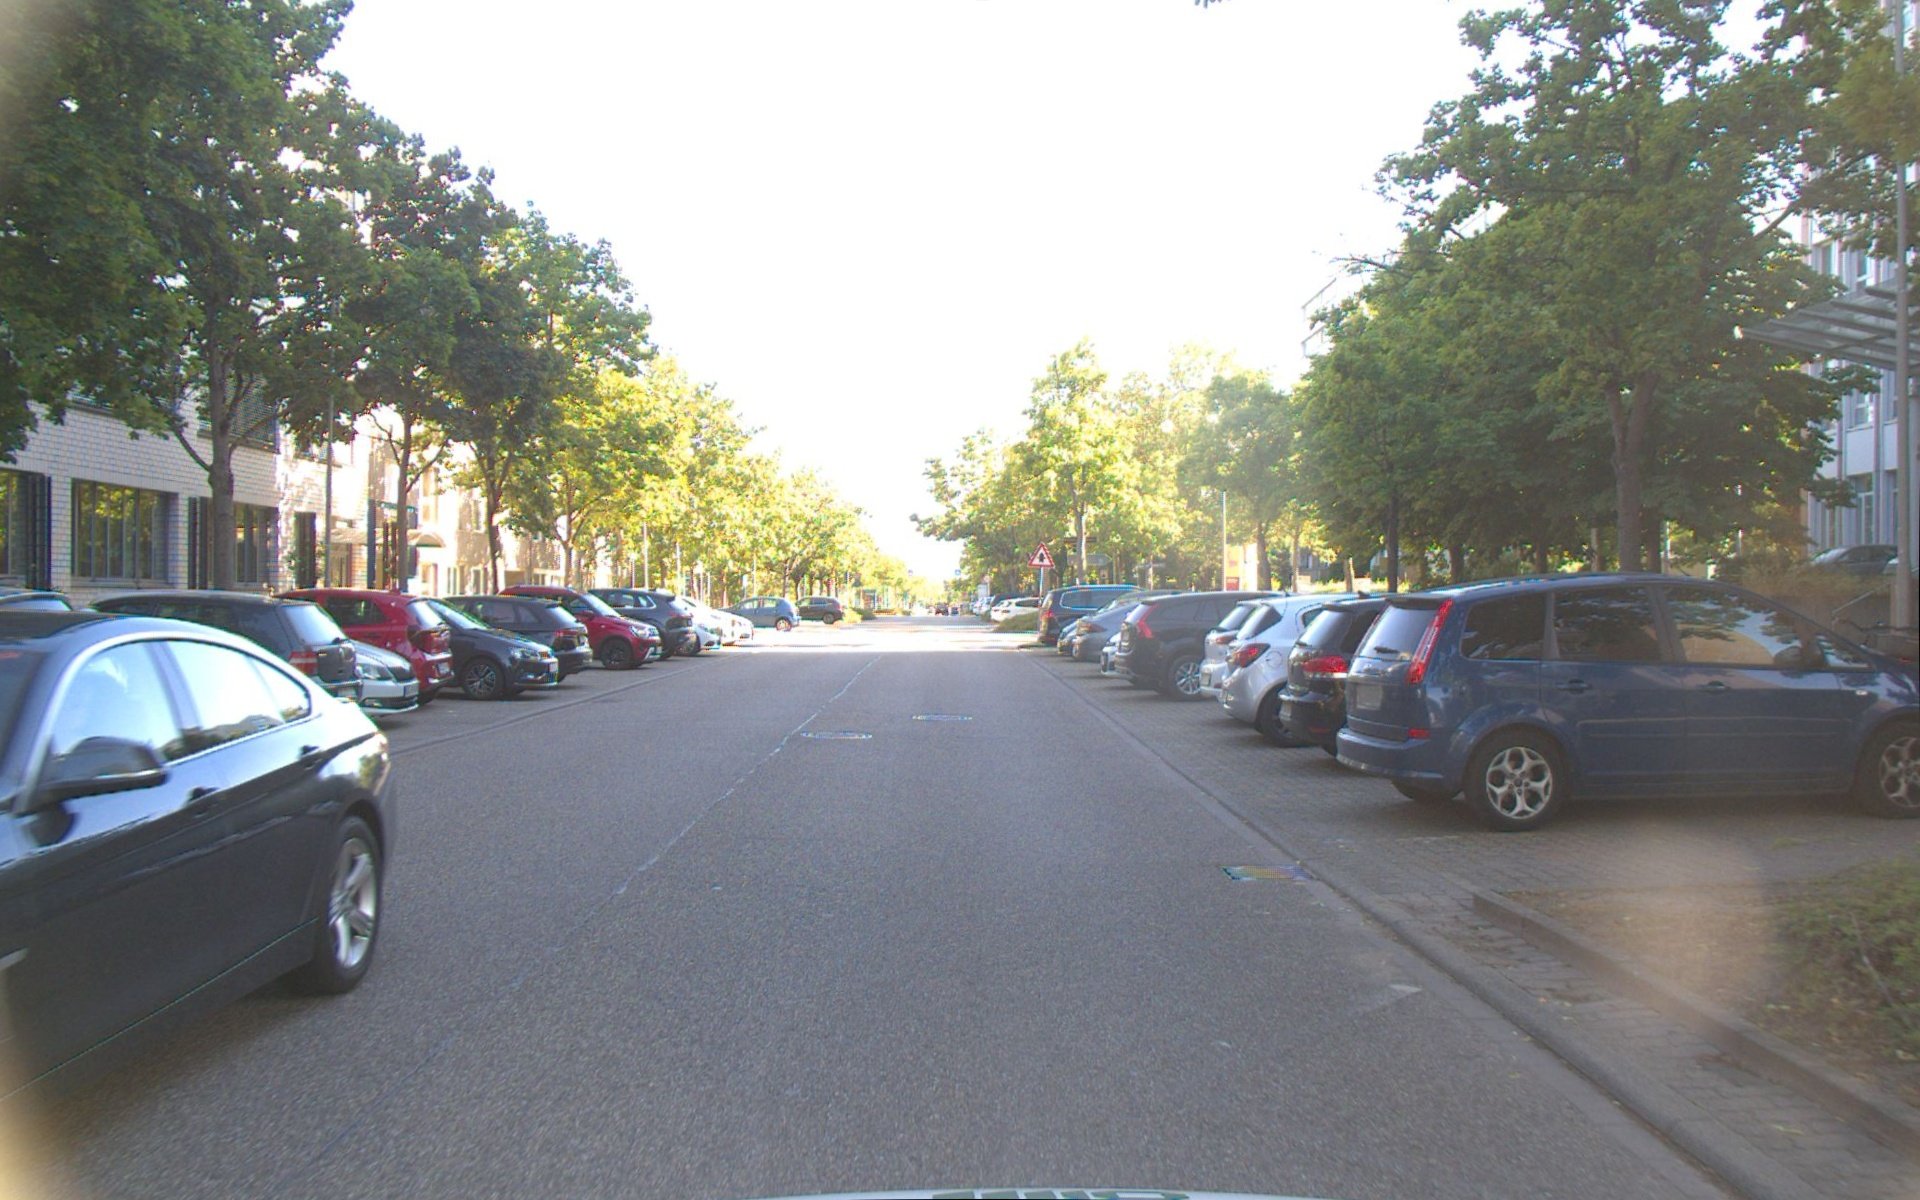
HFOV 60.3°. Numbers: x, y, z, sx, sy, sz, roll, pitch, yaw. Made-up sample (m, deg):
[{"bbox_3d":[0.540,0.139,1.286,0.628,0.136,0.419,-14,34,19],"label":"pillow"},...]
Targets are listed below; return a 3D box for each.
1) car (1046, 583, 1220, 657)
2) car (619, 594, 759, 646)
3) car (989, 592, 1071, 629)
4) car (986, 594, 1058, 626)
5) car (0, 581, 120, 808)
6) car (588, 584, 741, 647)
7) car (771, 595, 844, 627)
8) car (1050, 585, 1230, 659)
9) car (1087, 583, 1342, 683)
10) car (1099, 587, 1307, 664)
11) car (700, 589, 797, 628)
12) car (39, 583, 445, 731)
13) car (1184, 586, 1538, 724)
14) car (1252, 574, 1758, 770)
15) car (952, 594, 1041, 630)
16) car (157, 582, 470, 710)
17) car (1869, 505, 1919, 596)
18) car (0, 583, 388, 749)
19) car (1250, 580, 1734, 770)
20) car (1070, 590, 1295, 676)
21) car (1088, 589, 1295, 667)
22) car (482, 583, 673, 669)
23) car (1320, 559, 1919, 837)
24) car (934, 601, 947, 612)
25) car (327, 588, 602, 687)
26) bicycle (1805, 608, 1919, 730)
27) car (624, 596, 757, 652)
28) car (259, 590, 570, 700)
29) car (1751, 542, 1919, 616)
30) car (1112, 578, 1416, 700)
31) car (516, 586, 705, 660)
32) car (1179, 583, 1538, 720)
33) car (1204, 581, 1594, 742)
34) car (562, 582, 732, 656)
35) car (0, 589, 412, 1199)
[{"bbox_3d":[4.045,0.468,39.011,3.817,1.685,1.856,0,0,-6],"label":"car"},{"bbox_3d":[-8.040,0.588,49.314,3.907,1.507,1.679,0,0,-3],"label":"car"},{"bbox_3d":[3.483,0.542,83.011,3.910,1.824,1.998,0,0,-6],"label":"car"},{"bbox_3d":[3.539,0.573,95.164,3.910,1.824,1.998,0,0,-6],"label":"car"},{"bbox_3d":[-8.153,0.618,11.587,3.657,1.489,1.676,0,0,-2],"label":"car"},{"bbox_3d":[-8.225,0.434,46.286,3.904,1.683,1.861,-1,0,2],"label":"car"},{"bbox_3d":[-8.566,0.612,93.035,3.905,1.713,2.000,0,0,0],"label":"car"},{"bbox_3d":[4.191,0.510,38.864,3.964,1.609,1.640,-1,0,-4],"label":"car"},{"bbox_3d":[4.230,0.529,27.694,3.968,1.619,1.547,0,0,-8],"label":"car"},{"bbox_3d":[4.984,0.517,34.225,3.965,1.446,1.735,-1,0,-5],"label":"car"},{"bbox_3d":[-8.685,0.346,68.141,3.909,1.559,1.616,0,0,-5],"label":"car"},{"bbox_3d":[-8.002,0.609,18.713,3.789,1.482,1.753,2,1,-4],"label":"car"},{"bbox_3d":[4.679,0.625,19.662,3.678,1.474,1.878,-1,0,-4],"label":"car"},{"bbox_3d":[4.654,0.591,14.546,3.803,1.553,1.895,-1,0,-1],"label":"car"},{"bbox_3d":[1.662,0.563,76.757,3.910,1.653,1.998,0,0,-6],"label":"car"},{"bbox_3d":[-8.188,0.563,21.184,3.352,1.488,1.694,2,1,-6],"label":"car"},{"bbox_3d":[21.661,-0.973,34.818,3.992,1.814,1.998,2,-1,-5],"label":"car"},{"bbox_3d":[-7.818,0.617,16.367,3.685,1.470,1.631,2,-1,0],"label":"car"},{"bbox_3d":[4.574,0.622,14.667,3.663,1.492,1.910,-1,0,0],"label":"car"},{"bbox_3d":[4.145,0.608,31.147,3.964,1.517,1.549,-1,0,-4],"label":"car"},{"bbox_3d":[4.722,0.569,33.986,3.964,1.479,1.518,-1,0,-4],"label":"car"},{"bbox_3d":[-7.765,0.529,33.797,3.468,1.686,1.761,0,-1,1],"label":"car"},{"bbox_3d":[4.766,0.595,11.227,4.183,1.662,1.857,-1,0,-3],"label":"car"},{"bbox_3d":[-2.868,0.918,241.337,1.894,1.625,4.365,0,0,-1],"label":"car"},{"bbox_3d":[-7.832,0.589,26.417,3.909,1.431,1.604,2,-1,-5],"label":"car"},{"bbox_3d":[8.546,0.612,15.526,0.371,1.065,1.886,-2,0,5],"label":"bicycle"},{"bbox_3d":[-7.962,0.707,49.242,3.819,1.640,1.855,0,0,-7],"label":"car"},{"bbox_3d":[-7.785,0.634,23.872,3.907,1.437,1.665,2,-1,-2],"label":"car"},{"bbox_3d":[22.675,-0.506,42.017,4.216,1.701,1.998,2,-1,-5],"label":"car"},{"bbox_3d":[4.357,0.551,24.256,4.159,1.582,1.921,-2,0,4],"label":"car"},{"bbox_3d":[-7.987,0.557,38.014,3.904,1.614,1.765,-1,-2,2],"label":"car"},{"bbox_3d":[4.654,0.584,19.741,3.787,1.493,1.966,-1,0,-1],"label":"car"},{"bbox_3d":[4.424,0.605,17.035,3.561,1.492,1.633,-1,0,-1],"label":"car"},{"bbox_3d":[-7.736,0.462,41.153,3.906,1.750,1.708,1,0,-2],"label":"car"},{"bbox_3d":[-3.080,0.686,4.660,1.776,1.440,4.106,1,0,-2],"label":"car"}]
